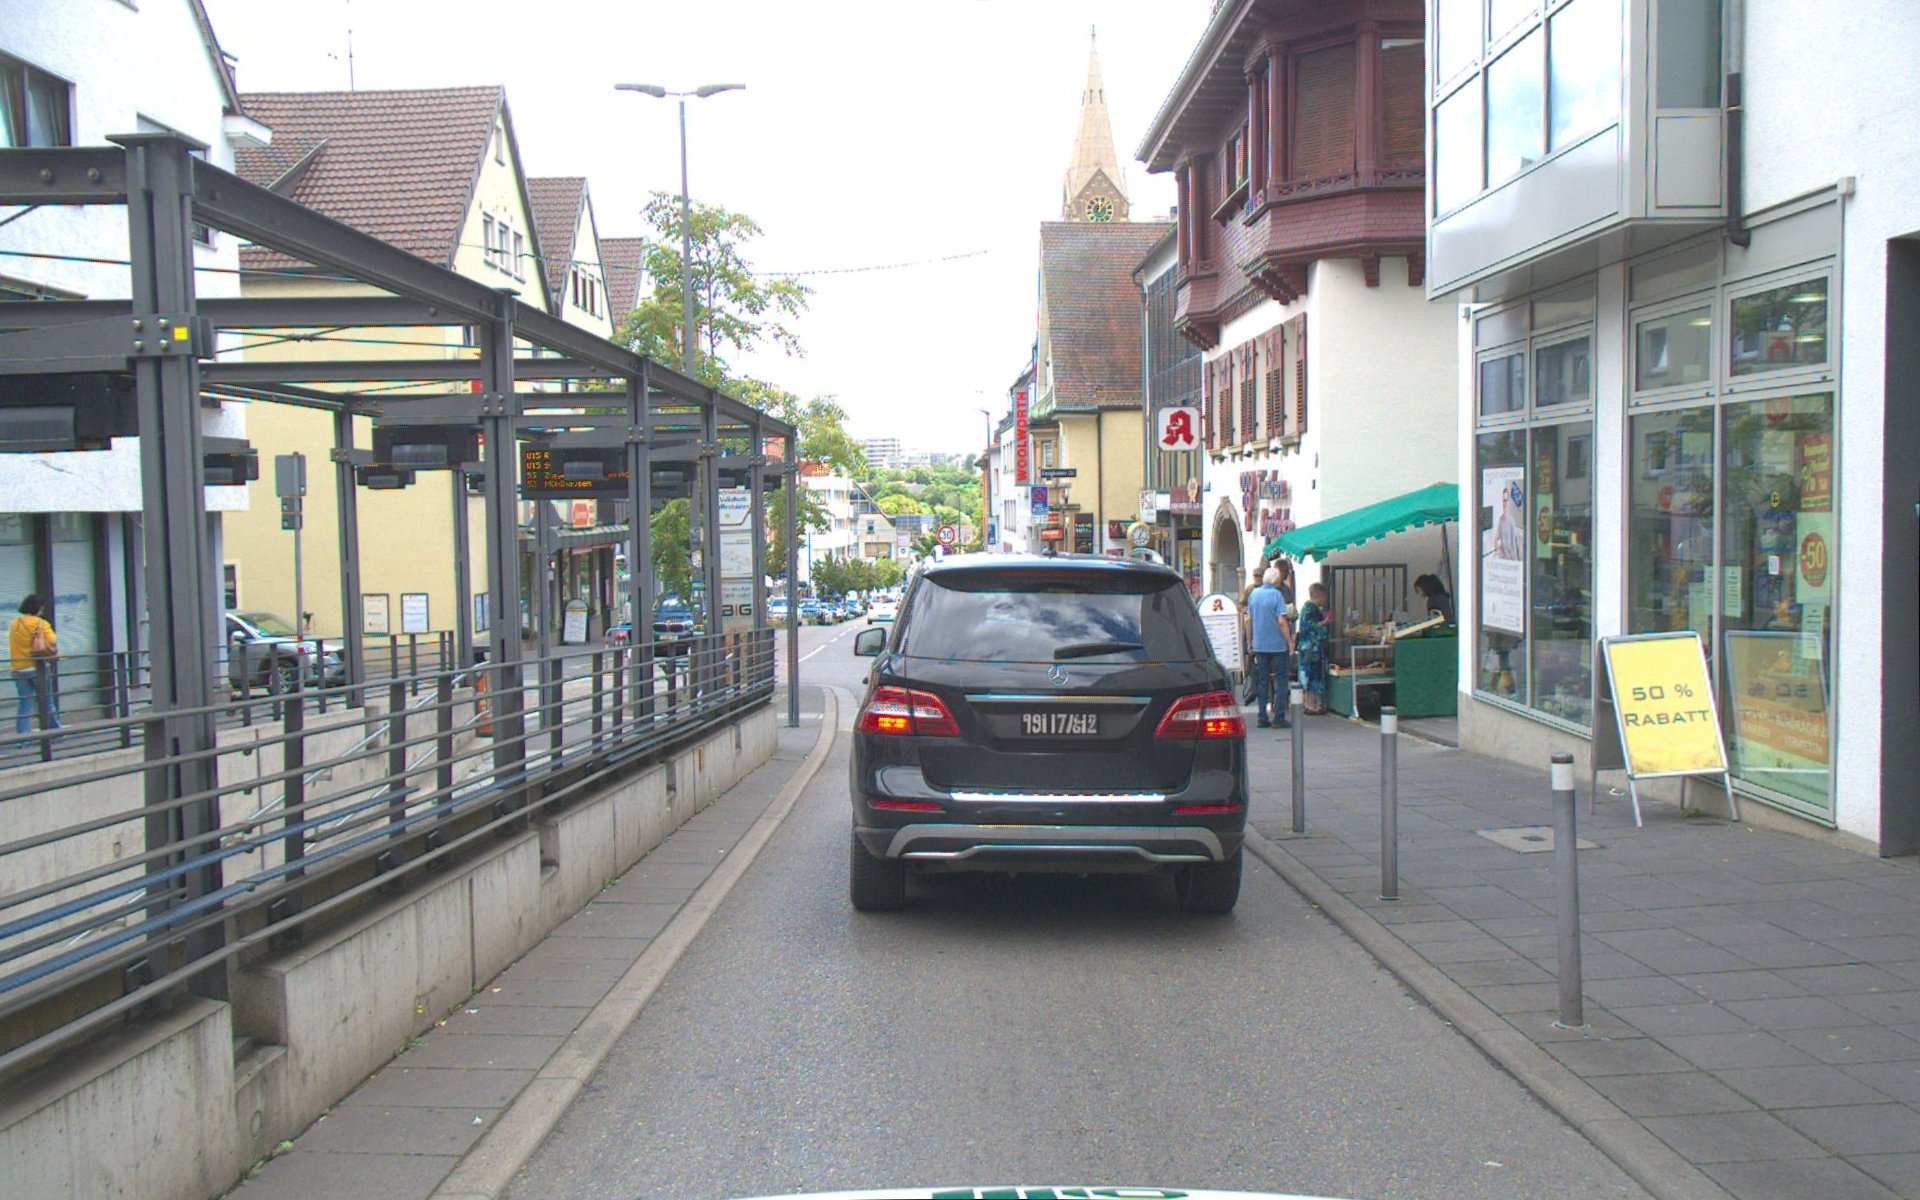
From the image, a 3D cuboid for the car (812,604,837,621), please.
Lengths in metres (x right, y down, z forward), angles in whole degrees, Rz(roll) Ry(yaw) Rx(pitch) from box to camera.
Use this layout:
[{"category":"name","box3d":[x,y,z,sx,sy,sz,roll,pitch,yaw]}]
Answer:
[{"category":"car","box3d":[-9.030,0.835,110.273,1.360,1.089,3.112,-1,0,0]}]

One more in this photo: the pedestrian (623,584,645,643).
[{"category":"pedestrian","box3d":[-9.668,0.405,49.049,0.502,1.718,0.541,1,0,-1]}]

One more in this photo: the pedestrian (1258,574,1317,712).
[{"category":"pedestrian","box3d":[4.131,0.536,20.895,0.562,1.718,0.565,1,0,-7]}]

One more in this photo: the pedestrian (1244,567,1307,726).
[{"category":"pedestrian","box3d":[3.553,0.511,18.667,0.531,1.756,0.527,-1,0,-7]}]

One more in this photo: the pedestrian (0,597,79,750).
[{"category":"pedestrian","box3d":[-10.534,0.831,18.934,0.566,1.718,0.576,1,0,-1]}]

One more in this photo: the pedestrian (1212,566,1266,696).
[{"category":"pedestrian","box3d":[4.014,0.437,23.857,0.626,1.841,0.684,1,0,-2]}]

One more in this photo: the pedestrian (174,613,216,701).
[{"category":"pedestrian","box3d":[-12.795,0.948,27.661,0.447,1.446,0.533,1,0,-2]}]

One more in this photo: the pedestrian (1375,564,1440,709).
[{"category":"pedestrian","box3d":[5.418,0.431,20.039,0.562,1.718,0.565,-1,0,-7]}]

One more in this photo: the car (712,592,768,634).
[{"category":"car","box3d":[-8.249,0.479,62.248,1.626,1.516,3.747,1,0,0]}]

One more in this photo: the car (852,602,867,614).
[{"category":"car","box3d":[-9.956,0.809,163.856,1.360,1.089,3.112,-1,0,0]}]

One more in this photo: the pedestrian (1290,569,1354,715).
[{"category":"pedestrian","box3d":[4.345,0.492,19.884,0.562,1.718,0.565,-1,0,-7]}]

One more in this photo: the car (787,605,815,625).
[{"category":"car","box3d":[-9.244,0.857,96.257,1.360,1.089,3.112,-1,0,0]}]

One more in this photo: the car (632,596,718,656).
[{"category":"car","box3d":[-7.704,0.674,45.073,1.655,1.516,3.979,1,0,0]}]

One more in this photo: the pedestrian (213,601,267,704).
[{"category":"pedestrian","box3d":[-12.253,0.876,28.160,0.613,1.718,0.679,1,0,-1]}]

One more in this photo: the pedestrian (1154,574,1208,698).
[{"category":"pedestrian","box3d":[3.099,0.498,23.229,0.609,1.718,0.565,1,0,-7]}]

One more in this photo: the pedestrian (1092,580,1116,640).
[{"category":"pedestrian","box3d":[4.191,0.287,48.297,0.594,1.718,0.724,-1,0,-1]}]

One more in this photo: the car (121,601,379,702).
[{"category":"car","box3d":[-13.185,0.949,30.804,4.090,1.761,1.836,-1,0,12]}]

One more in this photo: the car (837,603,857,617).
[{"category":"car","box3d":[-8.971,0.800,131.305,1.360,1.089,3.112,-1,0,0]}]

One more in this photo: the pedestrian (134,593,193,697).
[{"category":"pedestrian","box3d":[-13.384,0.748,27.805,0.639,1.718,0.730,1,0,-3]}]

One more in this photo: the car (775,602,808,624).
[{"category":"car","box3d":[-8.635,0.650,84.892,1.360,1.089,3.112,-1,0,0]}]

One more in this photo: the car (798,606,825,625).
[{"category":"car","box3d":[-9.156,0.931,102.081,1.360,1.089,3.112,-1,0,0]}]

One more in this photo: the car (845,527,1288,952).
[{"category":"car","box3d":[0.380,0.588,9.011,1.862,1.777,3.998,1,0,-2]}]

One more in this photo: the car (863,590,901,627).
[{"category":"car","box3d":[-3.818,0.409,81.646,1.734,1.743,3.999,1,0,-1]}]

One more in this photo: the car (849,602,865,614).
[{"category":"car","box3d":[-9.890,0.787,158.569,1.360,1.089,3.112,-1,0,0]}]
